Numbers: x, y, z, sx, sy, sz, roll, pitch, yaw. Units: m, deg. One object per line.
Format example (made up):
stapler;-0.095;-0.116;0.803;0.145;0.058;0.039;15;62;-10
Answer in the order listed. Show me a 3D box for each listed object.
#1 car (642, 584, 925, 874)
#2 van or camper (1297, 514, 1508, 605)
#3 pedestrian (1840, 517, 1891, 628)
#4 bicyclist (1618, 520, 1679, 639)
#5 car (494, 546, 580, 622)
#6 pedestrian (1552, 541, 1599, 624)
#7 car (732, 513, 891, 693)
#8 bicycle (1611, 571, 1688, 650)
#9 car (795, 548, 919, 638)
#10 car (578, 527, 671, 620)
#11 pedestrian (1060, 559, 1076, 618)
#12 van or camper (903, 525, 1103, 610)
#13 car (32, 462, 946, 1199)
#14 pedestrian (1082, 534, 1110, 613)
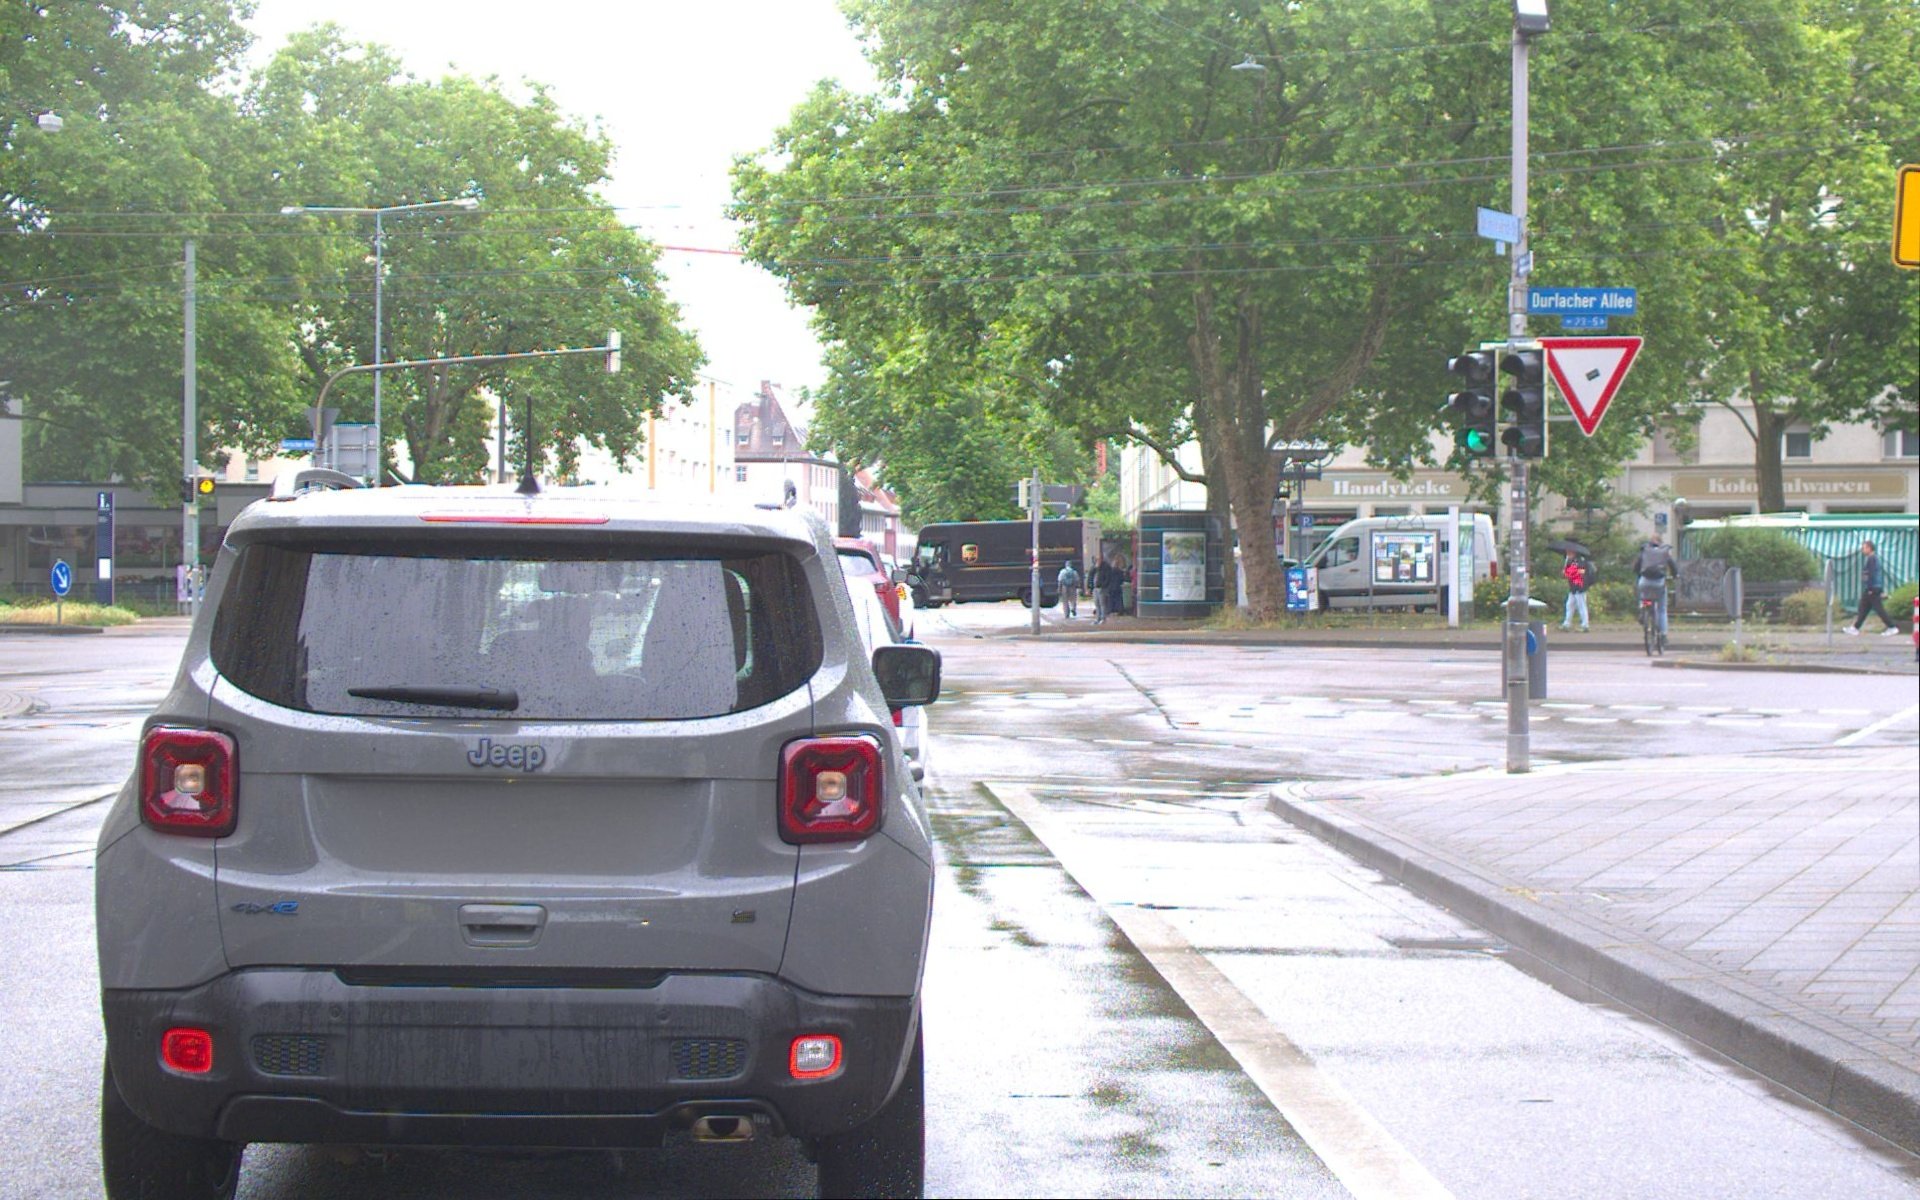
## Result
car;-0.892;0.615;18.285;1.363;1.371;3.312;0;1;-1
van or camper;11.505;-1.071;89.684;5.259;2.307;2.090;1;1;3
pedestrian;16.553;-0.505;62.843;0.806;2.007;0.589;0;1;26
bicyclist;9.425;-0.284;47.075;0.687;1.612;0.883;-1;1;19
car;-9.536;-0.377;77.713;1.813;1.665;3.921;0;1;-6
pedestrian;11.640;-0.328;65.053;0.674;1.548;0.760;0;-1;27
car;-1.709;0.008;40.413;1.770;2.007;4.000;0;1;-2
bicycle;9.486;0.132;47.257;0.692;1.018;2.655;-1;1;19
car;-1.521;-0.123;49.865;1.592;1.247;3.575;0;1;-5
car;-6.415;-0.512;65.981;1.721;1.733;3.730;0;1;-5
pedestrian;3.125;-0.345;99.687;0.458;1.698;0.424;0;1;0
van or camper;1.498;-1.129;119.759;6.535;2.902;2.491;0;1;26
car;-0.999;0.553;8.729;1.775;1.681;3.848;-1;1;-2
pedestrian;3.463;-0.670;87.495;0.651;2.007;0.482;0;1;11
